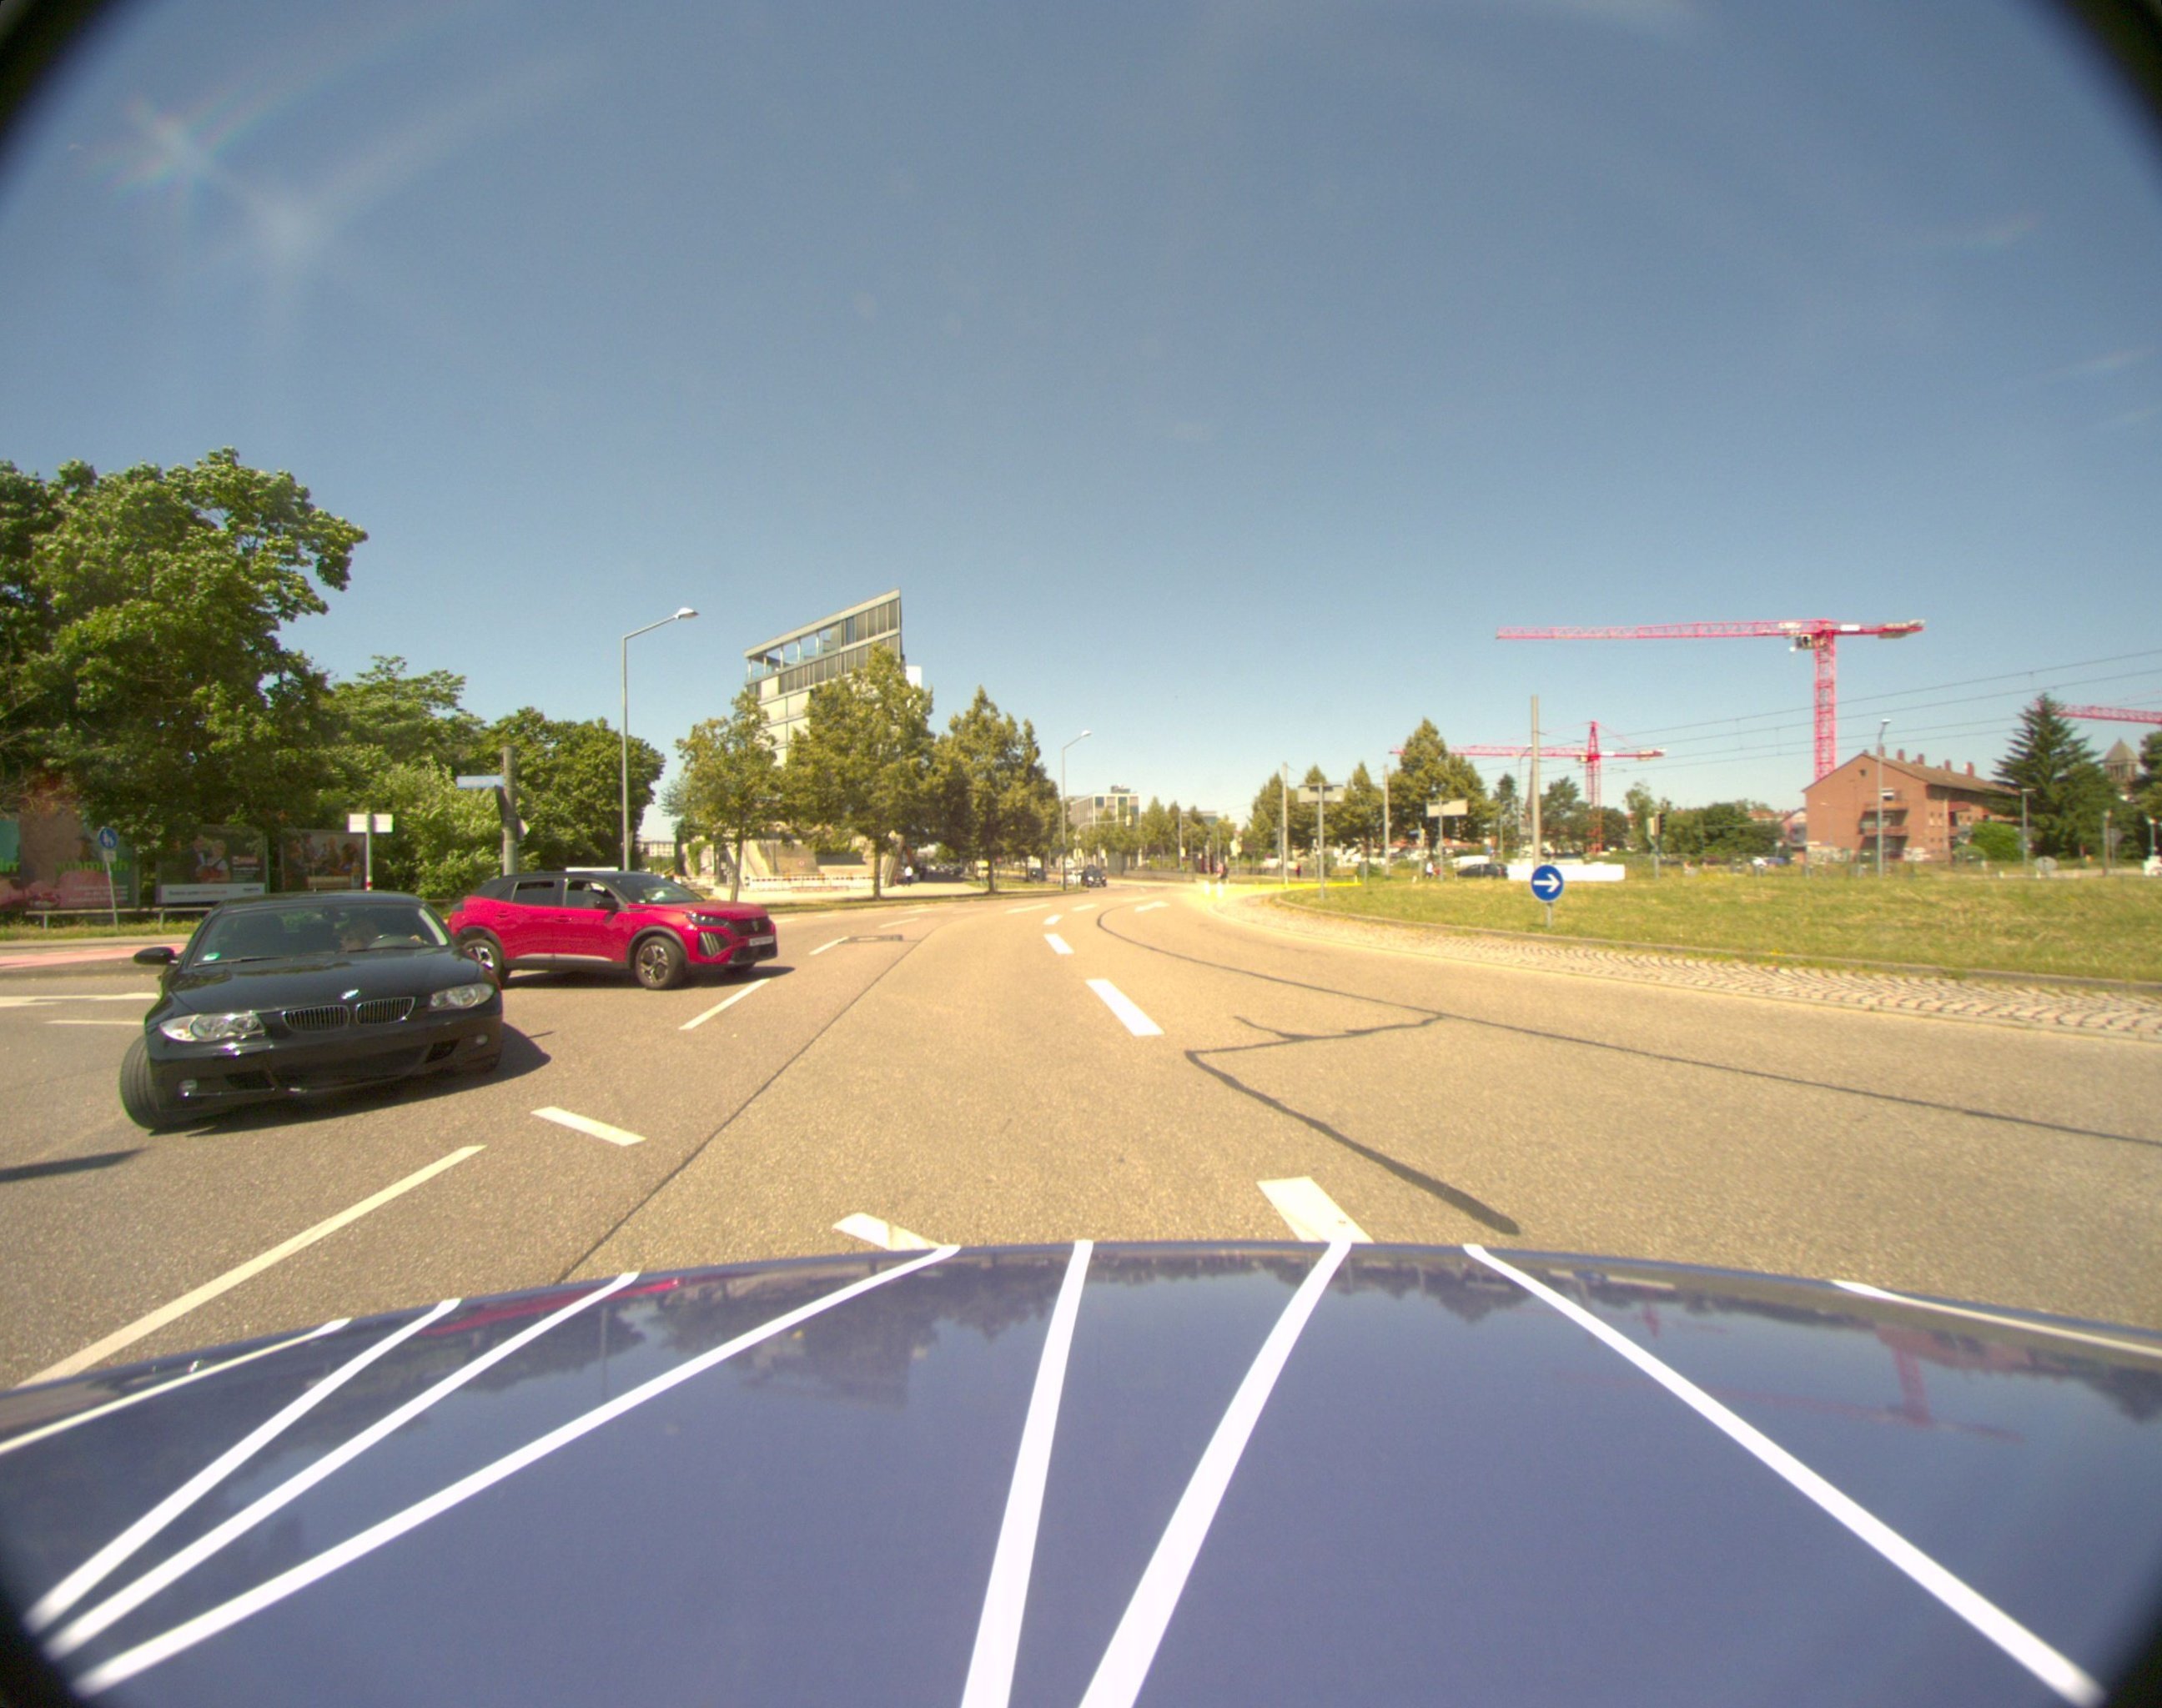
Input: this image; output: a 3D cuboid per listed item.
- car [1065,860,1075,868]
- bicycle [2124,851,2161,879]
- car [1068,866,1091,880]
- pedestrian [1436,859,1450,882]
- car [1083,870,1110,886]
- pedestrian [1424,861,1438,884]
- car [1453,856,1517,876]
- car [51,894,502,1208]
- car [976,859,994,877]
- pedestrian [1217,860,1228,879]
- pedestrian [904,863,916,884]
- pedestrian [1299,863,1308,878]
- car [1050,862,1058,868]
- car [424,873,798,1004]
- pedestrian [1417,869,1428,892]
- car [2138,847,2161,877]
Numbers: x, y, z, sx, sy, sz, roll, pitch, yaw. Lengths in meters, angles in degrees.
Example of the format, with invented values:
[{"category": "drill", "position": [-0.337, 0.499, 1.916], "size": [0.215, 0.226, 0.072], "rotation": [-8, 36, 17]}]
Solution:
[{"category": "car", "position": [-3.070, 2.855, 210.687], "size": [2.001, 2.002, 3.896], "rotation": [0, 1, -14]}, {"category": "bicycle", "position": [65.121, 0.689, 46.102], "size": [2.079, 1.675, 0.561], "rotation": [1, 2, 41]}, {"category": "car", "position": [-0.171, 1.794, 71.820], "size": [1.577, 1.218, 3.319], "rotation": [0, 1, -10]}, {"category": "pedestrian", "position": [30.896, 1.412, 64.855], "size": [0.746, 2.002, 0.732], "rotation": [0, 2, -1]}, {"category": "car", "position": [1.316, 2.083, 65.965], "size": [1.741, 1.205, 3.562], "rotation": [0, 1, -10]}, {"category": "pedestrian", "position": [29.925, 1.587, 64.928], "size": [0.814, 1.888, 0.732], "rotation": [0, 1, -1]}, {"category": "car", "position": [31.359, 0.913, 59.055], "size": [2.004, 1.456, 3.988], "rotation": [-1, 2, -43]}, {"category": "car", "position": [-6.025, 1.119, 5.943], "size": [3.989, 1.432, 1.806], "rotation": [-1, 1, 45]}, {"category": "car", "position": [-13.581, 1.939, 107.363], "size": [2.001, 2.493, 3.995], "rotation": [-1, 0, -15]}, {"category": "pedestrian", "position": [11.999, 1.310, 64.377], "size": [0.760, 1.630, 0.781], "rotation": [0, 1, 0]}, {"category": "pedestrian", "position": [-14.795, 1.681, 65.751], "size": [0.834, 1.858, 0.611], "rotation": [0, 2, 1]}, {"category": "pedestrian", "position": [20.153, 1.478, 68.912], "size": [0.597, 1.398, 0.543], "rotation": [-1, 0, -2]}, {"category": "car", "position": [-8.866, 3.508, 246.507], "size": [2.000, 2.002, 3.995], "rotation": [0, 1, -11]}, {"category": "car", "position": [-6.225, 1.062, 10.252], "size": [4.205, 1.518, 1.723], "rotation": [-1, 0, 11]}, {"category": "pedestrian", "position": [29.864, 2.317, 66.416], "size": [0.595, 2.002, 0.602], "rotation": [0, 2, -13]}, {"category": "car", "position": [74.042, 0.527, 51.556], "size": [4.005, 2.002, 1.995], "rotation": [0, 1, -25]}]
